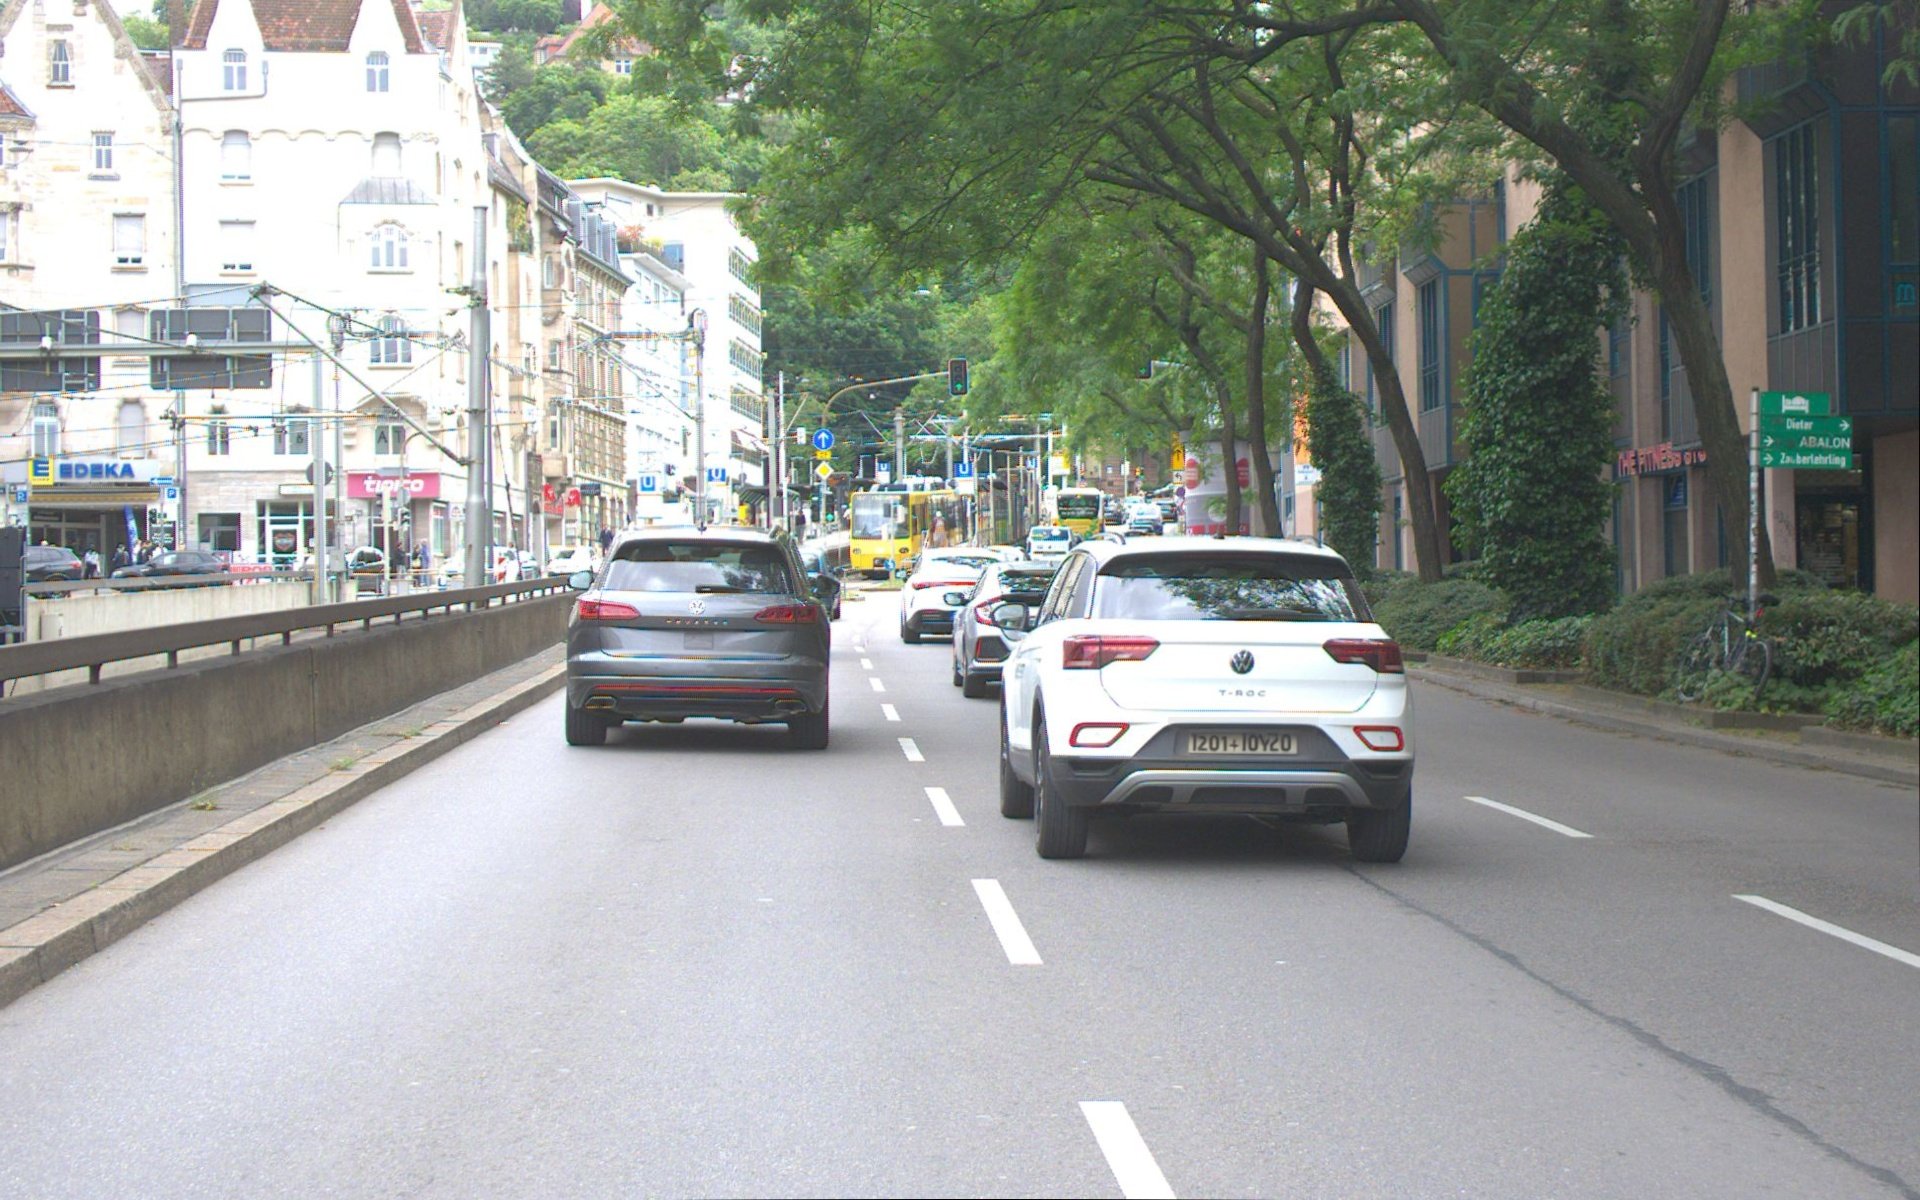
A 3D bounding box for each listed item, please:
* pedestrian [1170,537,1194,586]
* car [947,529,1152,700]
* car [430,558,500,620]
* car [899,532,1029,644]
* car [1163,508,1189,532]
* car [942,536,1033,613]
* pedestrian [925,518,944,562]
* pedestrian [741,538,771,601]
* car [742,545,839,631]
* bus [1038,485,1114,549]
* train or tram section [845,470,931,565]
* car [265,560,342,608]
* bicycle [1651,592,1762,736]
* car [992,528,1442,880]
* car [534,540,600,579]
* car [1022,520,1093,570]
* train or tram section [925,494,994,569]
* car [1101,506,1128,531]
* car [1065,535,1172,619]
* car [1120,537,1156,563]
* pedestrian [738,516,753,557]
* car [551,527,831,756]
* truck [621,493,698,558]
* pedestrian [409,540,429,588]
[{"bbox_3d":[8.291,-1.424,128.486,0.693,1.771,0.689,-5,1,1],"label":"pedestrian"},{"bbox_3d":[0.888,0.123,36.340,1.884,1.678,4.161,1,1,-2],"label":"car"},{"bbox_3d":[-15.840,-0.365,110.238,1.833,1.836,4.606,3,0,-4],"label":"car"},{"bbox_3d":[0.029,-0.206,54.600,1.884,1.678,4.161,1,1,-2],"label":"car"},{"bbox_3d":[14.747,-5.436,234.763,1.674,1.555,3.678,1,1,4],"label":"car"},{"bbox_3d":[0.705,-0.700,93.052,2.364,2.007,5.148,1,1,0],"label":"car"},{"bbox_3d":[-1.006,-2.341,134.635,0.685,1.705,0.712,0,1,4],"label":"pedestrian"},{"bbox_3d":[-5.652,-0.848,95.307,0.764,1.715,0.637,0,1,4],"label":"pedestrian"},{"bbox_3d":[-3.422,-0.264,69.956,1.884,1.678,4.161,1,1,-2],"label":"car"},{"bbox_3d":[6.083,-4.232,177.708,3.372,3.054,13.323,1,1,4],"label":"bus"},{"bbox_3d":[-2.846,-3.296,137.497,2.835,3.666,5.751,1,1,5],"label":"train or tram section"},{"bbox_3d":[-21.296,-0.534,111.695,1.664,1.496,4.413,0,1,0],"label":"car"},{"bbox_3d":[6.483,0.536,29.901,0.361,1.197,1.571,-1,1,-10],"label":"bicycle"},{"bbox_3d":[1.190,0.454,17.711,1.837,1.578,4.157,1,1,-2],"label":"car"},{"bbox_3d":[-16.388,-1.677,143.459,1.749,1.555,4.513,1,1,6],"label":"car"},{"bbox_3d":[4.052,-2.248,142.015,2.365,2.007,5.146,1,1,8],"label":"car"},{"bbox_3d":[0.010,-3.445,172.773,2.813,3.653,6.750,1,1,5],"label":"train or tram section"},{"bbox_3d":[10.307,-5.446,229.562,1.674,1.555,3.678,1,1,4],"label":"car"},{"bbox_3d":[3.907,-0.587,85.641,2.364,2.007,5.148,1,1,0],"label":"car"},{"bbox_3d":[8.348,-2.329,161.397,1.582,1.168,3.678,1,1,4],"label":"car"},{"bbox_3d":[-9.008,-2.686,144.407,0.635,1.705,0.690,0,1,-4],"label":"pedestrian"},{"bbox_3d":[-2.040,0.270,26.556,1.993,1.630,4.001,0,1,-3],"label":"car"},{"bbox_3d":[-14.615,-3.618,167.829,2.267,3.066,7.372,1,1,7],"label":"truck"},{"bbox_3d":[-20.232,-1.352,128.547,0.510,1.774,0.576,0,1,19],"label":"pedestrian"}]
